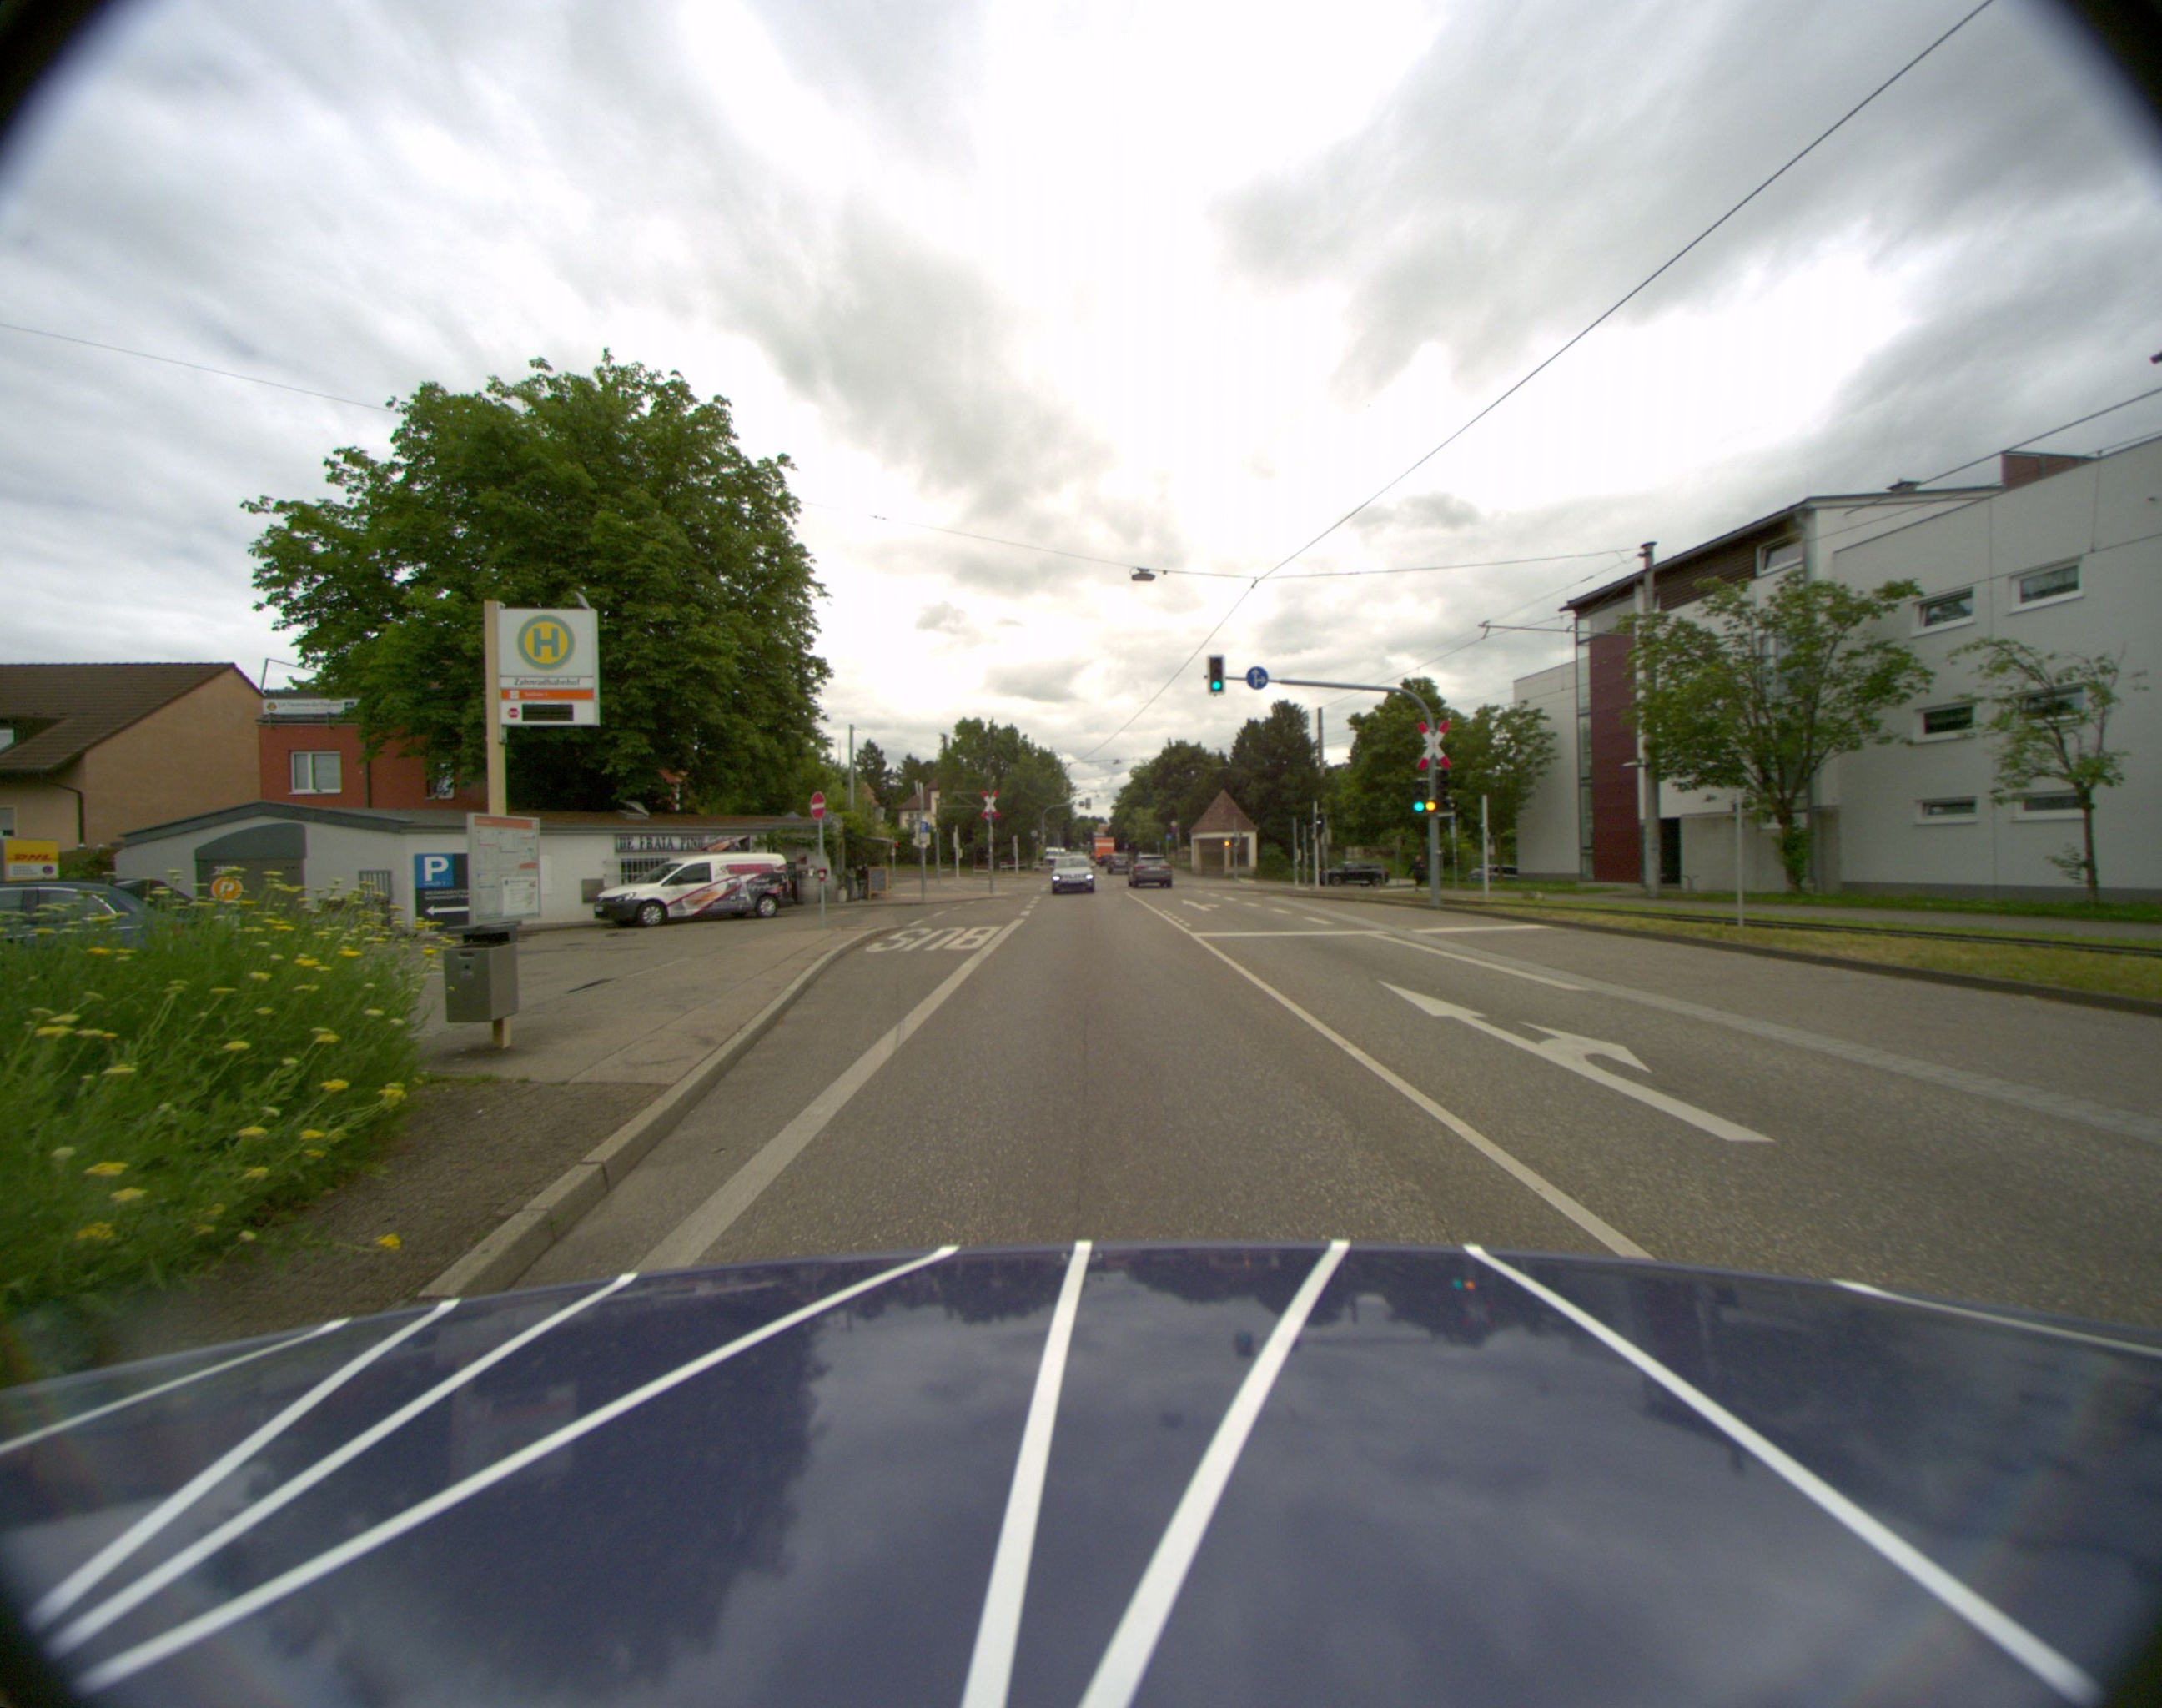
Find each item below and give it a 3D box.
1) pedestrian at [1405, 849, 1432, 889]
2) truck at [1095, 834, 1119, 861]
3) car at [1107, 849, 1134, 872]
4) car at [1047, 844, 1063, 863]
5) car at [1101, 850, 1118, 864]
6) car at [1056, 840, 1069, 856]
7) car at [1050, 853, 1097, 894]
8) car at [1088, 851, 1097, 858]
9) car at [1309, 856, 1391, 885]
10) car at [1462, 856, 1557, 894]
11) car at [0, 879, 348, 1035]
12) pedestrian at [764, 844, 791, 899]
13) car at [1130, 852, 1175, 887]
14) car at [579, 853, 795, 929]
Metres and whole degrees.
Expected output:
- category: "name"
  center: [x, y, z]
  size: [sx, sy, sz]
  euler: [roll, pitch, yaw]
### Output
- category: "pedestrian"
  center: [14.101, 0.621, 31.765]
  size: [0.677, 1.634, 0.819]
  euler: [0, -1, -5]
- category: "truck"
  center: [3.566, -0.915, 106.466]
  size: [2.776, 3.697, 8.467]
  euler: [1, 1, -1]
- category: "car"
  center: [3.222, 0.496, 62.986]
  size: [1.835, 1.660, 4.487]
  euler: [-4, 1, 0]
- category: "car"
  center: [-3.692, -0.148, 107.606]
  size: [2.095, 2.589, 6.679]
  euler: [-1, 1, -2]
- category: "car"
  center: [3.192, 0.328, 85.472]
  size: [1.679, 1.497, 3.732]
  euler: [1, 0, -1]
- category: "car"
  center: [-3.056, -0.976, 125.476]
  size: [2.046, 2.588, 5.966]
  euler: [-1, 1, 0]
- category: "car"
  center: [-0.406, 0.807, 33.892]
  size: [1.835, 1.610, 4.486]
  euler: [-3, 1, -3]
- category: "car"
  center: [2.602, 0.021, 175.655]
  size: [1.944, 1.522, 4.526]
  euler: [1, 0, 0]
- category: "car"
  center: [17.334, 1.044, 49.053]
  size: [4.488, 1.660, 1.964]
  euler: [2, 0, -7]
- category: "car"
  center: [25.255, 1.226, 44.834]
  size: [4.469, 2.002, 1.999]
  euler: [3, 0, -6]
- category: "car"
  center: [-11.438, 1.129, 8.710]
  size: [4.006, 1.468, 1.875]
  euler: [-2, 1, -31]
- category: "pedestrian"
  center: [-10.241, 0.602, 25.671]
  size: [0.686, 1.846, 0.623]
  euler: [0, -1, -5]
- category: "car"
  center: [3.408, 0.705, 36.760]
  size: [1.744, 1.550, 4.183]
  euler: [-1, 1, 0]
- category: "car"
  center: [-10.228, 0.881, 20.077]
  size: [1.846, 1.738, 4.705]
  euler: [-1, 0, 38]
